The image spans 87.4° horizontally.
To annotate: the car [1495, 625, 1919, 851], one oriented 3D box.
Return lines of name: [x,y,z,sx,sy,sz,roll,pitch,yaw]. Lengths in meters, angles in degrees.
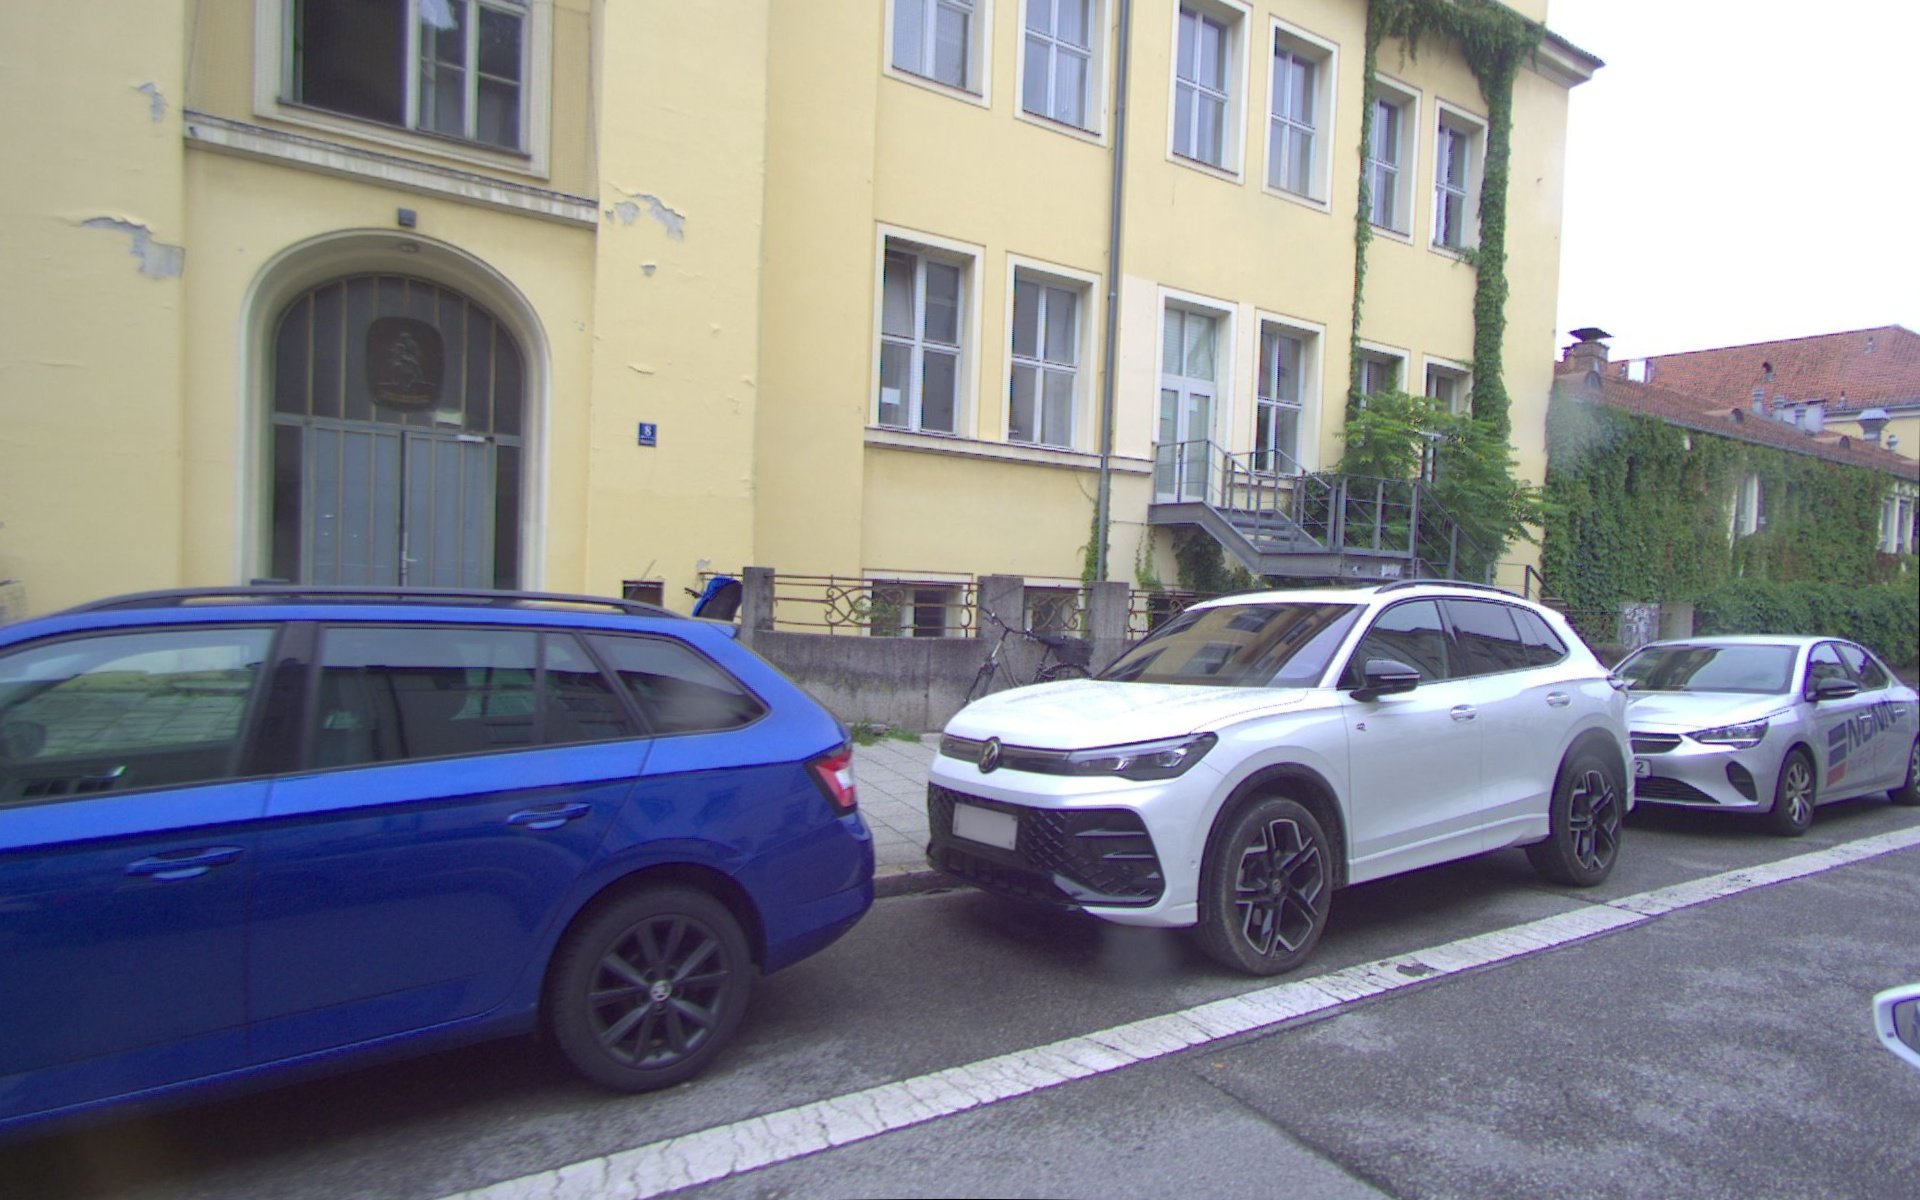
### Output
car: [6.270,0.944,8.236,3.852,1.444,1.670,1,-1,-33]

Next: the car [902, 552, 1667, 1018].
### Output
car: [1.958,0.714,5.484,4.311,1.655,1.670,1,-2,-34]

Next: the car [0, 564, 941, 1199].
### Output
car: [-2.155,0.710,3.126,3.931,1.525,1.670,1,-2,-33]

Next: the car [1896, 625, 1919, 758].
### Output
car: [13.333,1.112,12.302,4.149,1.558,1.772,1,-1,-33]

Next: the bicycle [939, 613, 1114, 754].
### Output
bicycle: [0.644,0.764,9.530,1.543,1.205,0.574,2,4,-30]

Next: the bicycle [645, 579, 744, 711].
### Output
bicycle: [-2.824,0.434,10.587,0.572,1.205,1.548,1,4,-31]

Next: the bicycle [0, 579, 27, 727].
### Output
bicycle: [-7.201,0.412,7.192,0.434,1.065,1.548,1,3,-31]
